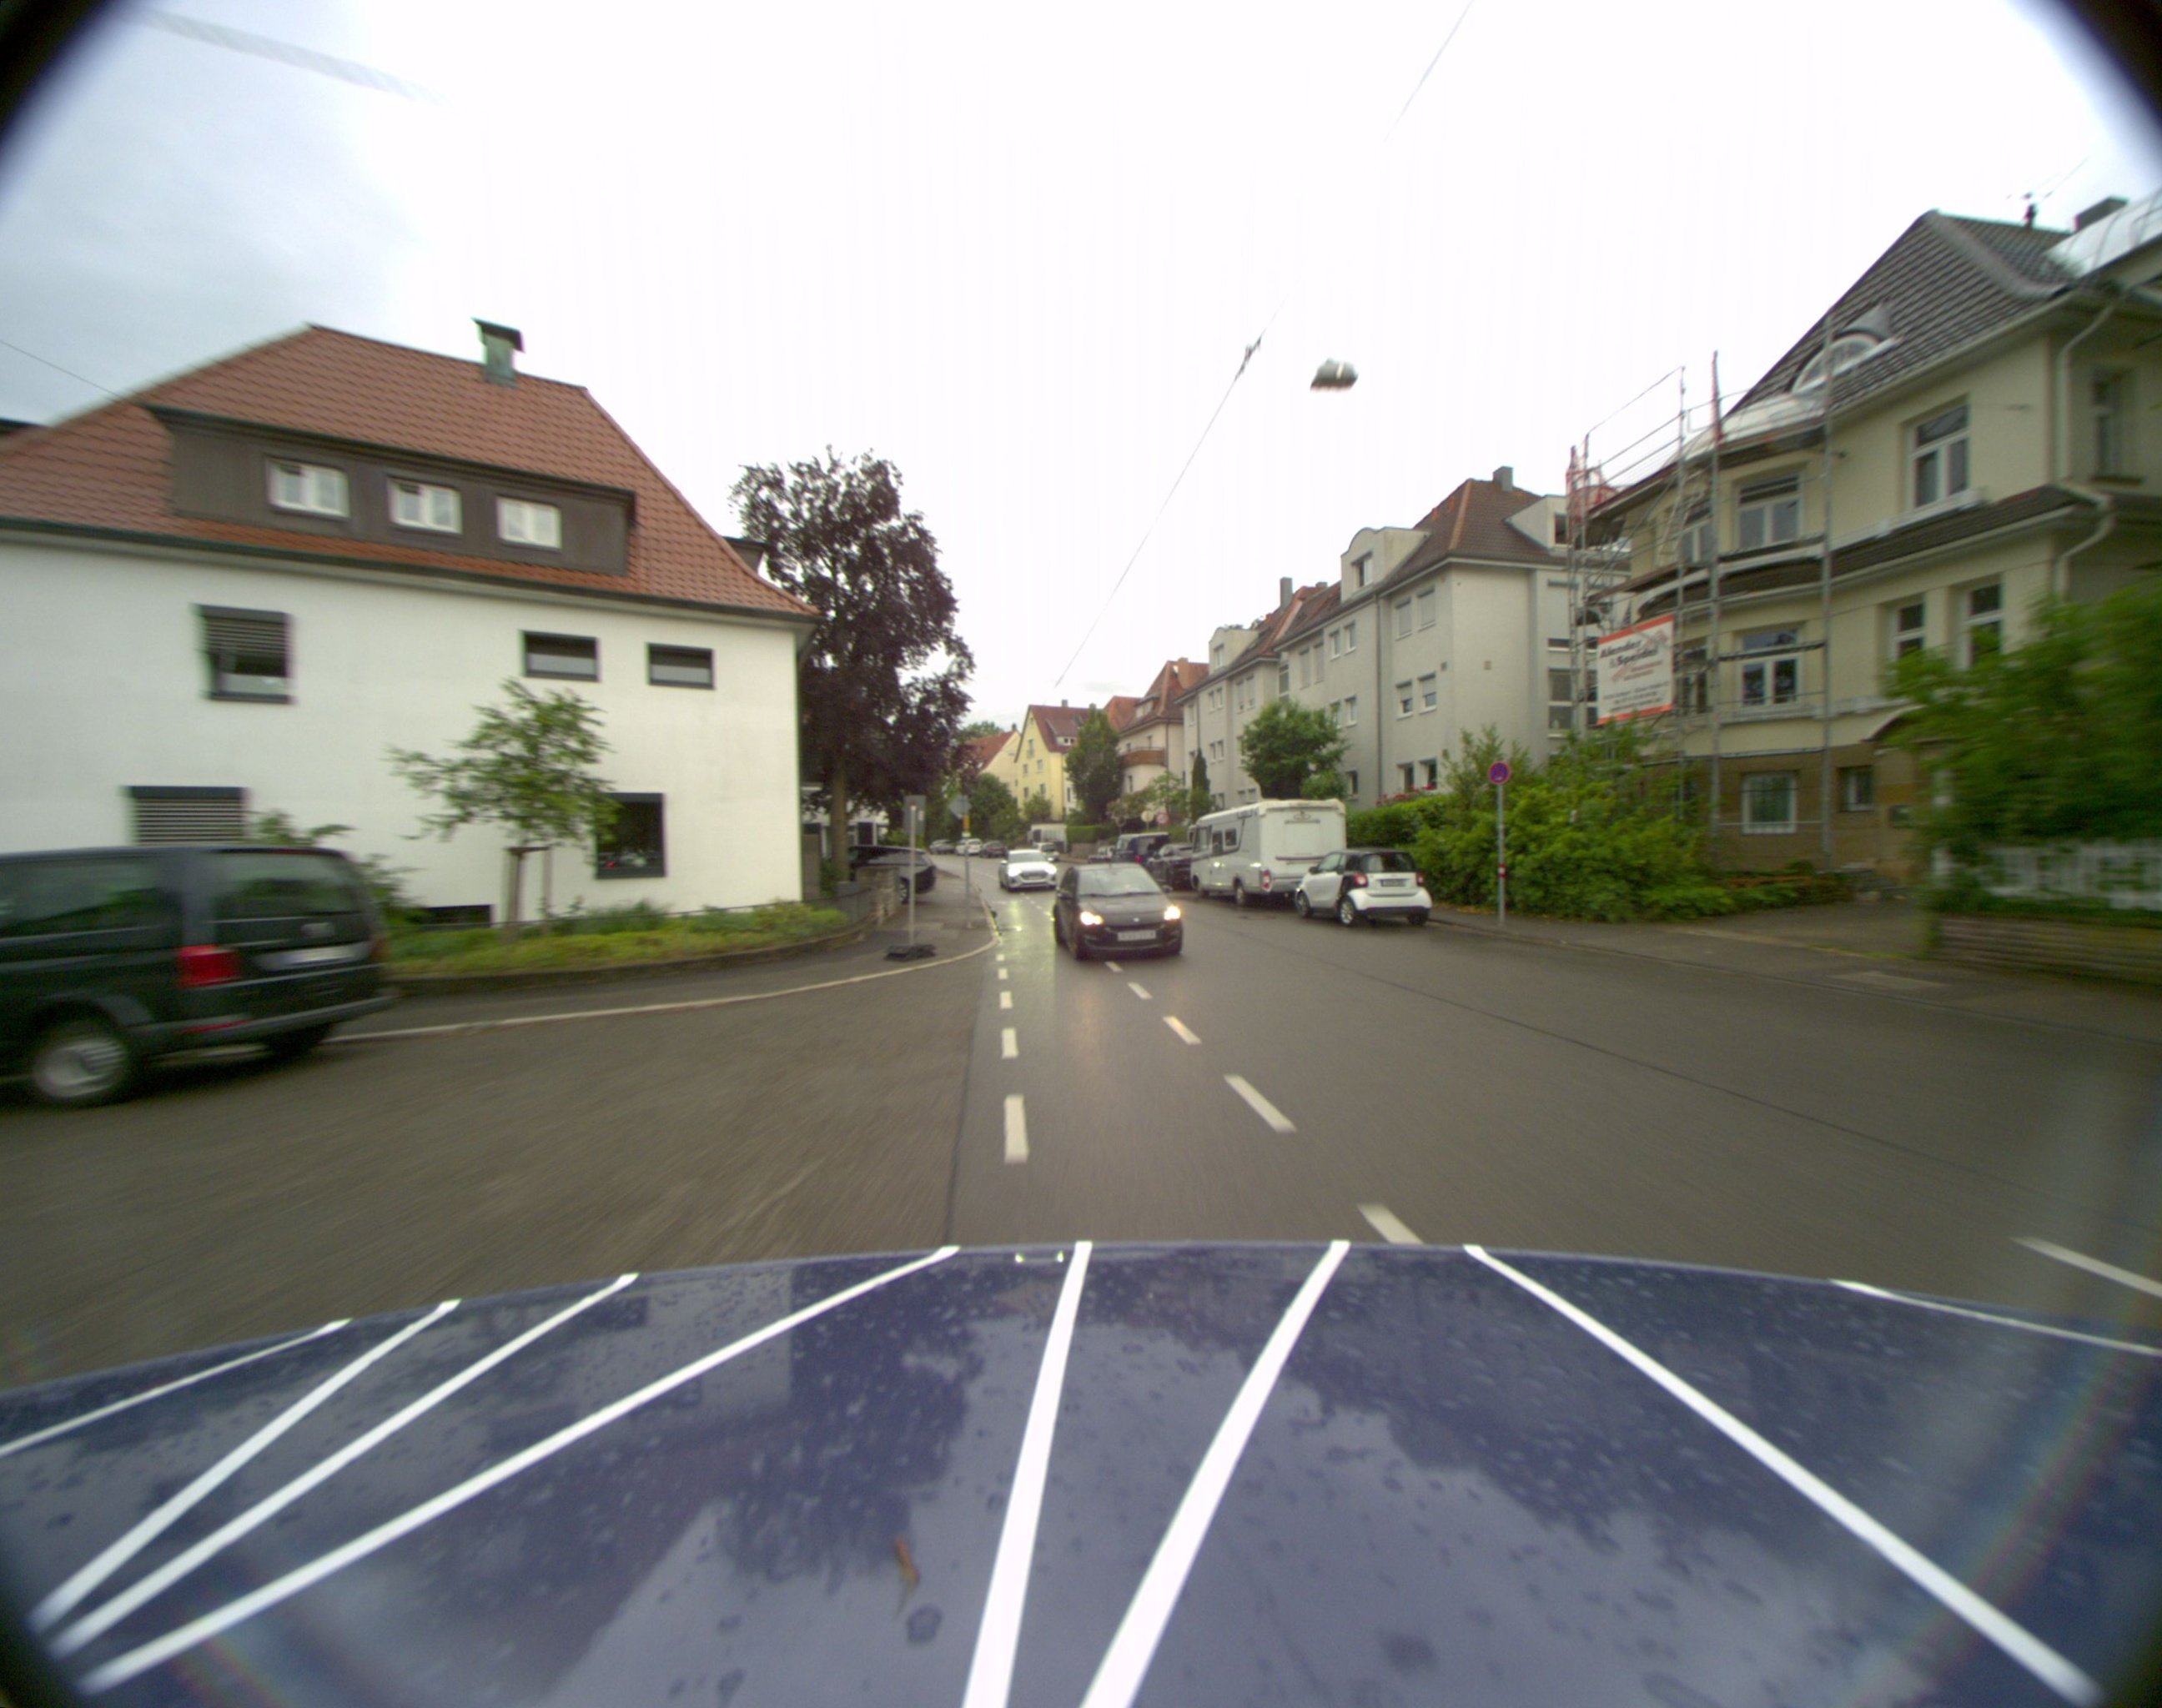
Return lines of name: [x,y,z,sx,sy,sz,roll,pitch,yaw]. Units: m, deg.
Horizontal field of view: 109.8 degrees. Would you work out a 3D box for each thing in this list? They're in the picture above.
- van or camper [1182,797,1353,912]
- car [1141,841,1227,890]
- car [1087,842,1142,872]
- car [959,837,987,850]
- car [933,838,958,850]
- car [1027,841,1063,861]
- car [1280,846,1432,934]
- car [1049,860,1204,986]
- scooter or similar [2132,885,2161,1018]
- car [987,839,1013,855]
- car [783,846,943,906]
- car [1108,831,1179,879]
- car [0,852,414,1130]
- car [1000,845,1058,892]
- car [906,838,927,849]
van or camper: [4.920,-0.057,21.329,2.356,2.710,6.110,-2,1,-10]
car: [3.699,0.355,28.246,1.838,1.586,4.741,-2,1,-9]
car: [1.728,0.116,40.708,1.681,1.365,4.504,-3,2,-14]
car: [-11.305,-1.069,79.200,1.683,1.364,4.427,0,0,-26]
car: [-15.771,-1.145,88.380,1.682,1.365,4.427,-4,2,-26]
car: [-2.760,-0.255,57.327,1.682,1.365,3.434,-4,2,-21]
car: [5.676,0.664,16.068,1.600,1.586,3.314,-2,1,-9]
car: [0.534,0.928,11.908,1.899,1.456,3.679,-3,2,-4]
scooter or similar: [9.959,0.890,6.474,0.403,1.181,1.140,-3,1,-3]
car: [-7.642,-0.672,71.228,1.682,1.365,3.435,-3,2,-17]
car: [-6.927,0.692,24.599,4.747,1.799,1.940,1,1,-9]
car: [2.774,0.003,34.832,1.838,1.977,4.575,-3,2,-13]
car: [-8.991,1.028,6.267,4.922,1.937,1.939,-2,2,-7]
car: [-2.202,0.538,31.260,1.797,1.689,3.886,-3,2,-12]
car: [-21.515,-1.337,99.407,1.682,1.365,4.427,-4,2,-26]
